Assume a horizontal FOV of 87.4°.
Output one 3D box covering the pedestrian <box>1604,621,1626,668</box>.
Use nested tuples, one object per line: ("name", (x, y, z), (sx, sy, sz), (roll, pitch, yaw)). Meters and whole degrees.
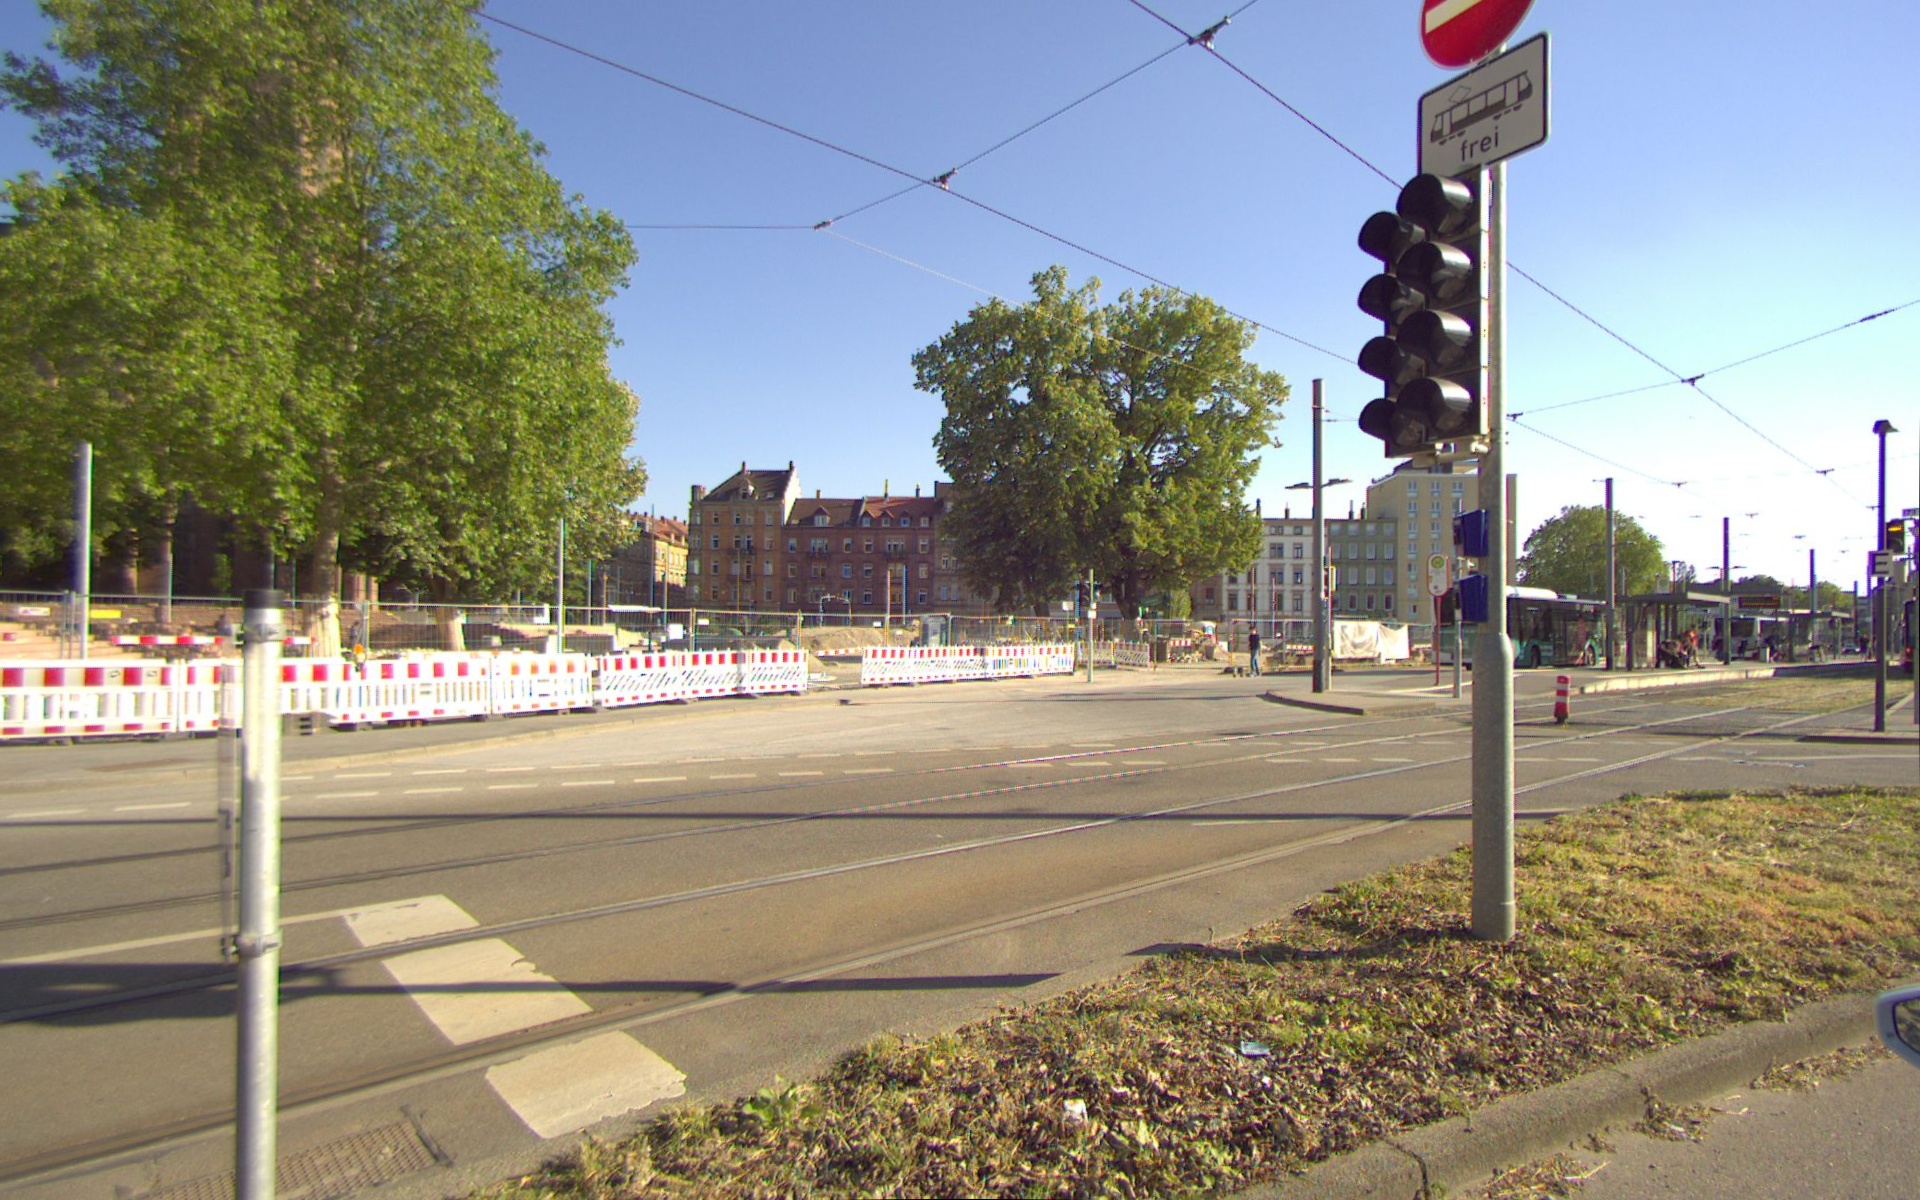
("pedestrian", (25.110, 1.703, 38.482), (0.554, 1.772, 0.534), (2, -2, -35))

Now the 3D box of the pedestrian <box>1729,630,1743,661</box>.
("pedestrian", (44.567, 2.620, 57.701), (0.564, 1.772, 0.636), (-1, -2, 41))

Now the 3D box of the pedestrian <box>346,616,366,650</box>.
("pedestrian", (-29.842, 1.611, 49.665), (0.751, 1.669, 0.671), (1, -1, -26))

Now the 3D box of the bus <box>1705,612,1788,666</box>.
("bus", (53.959, 2.636, 68.748), (13.376, 3.317, 2.694), (2, 0, -44))

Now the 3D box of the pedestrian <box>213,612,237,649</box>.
("pedestrian", (-33.448, 1.401, 45.713), (0.665, 1.669, 0.635), (1, -1, -18))

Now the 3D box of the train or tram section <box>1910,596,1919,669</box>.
("train or tram section", (53.890, 1.823, 53.780), (12.100, 3.644, 2.987), (2, 0, -40))

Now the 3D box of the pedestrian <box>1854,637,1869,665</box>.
("pedestrian", (57.279, 3.247, 63.803), (0.629, 1.772, 0.570), (-1, -2, 34))

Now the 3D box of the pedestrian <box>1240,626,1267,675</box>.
("pedestrian", (10.553, 1.808, 36.068), (0.699, 1.719, 0.899), (-1, -4, 33))

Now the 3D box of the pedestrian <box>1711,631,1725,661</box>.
("pedestrian", (44.477, 2.697, 58.930), (0.629, 1.772, 0.570), (-1, -2, 34))

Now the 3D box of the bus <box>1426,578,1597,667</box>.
("bus", (21.999, 0.903, 39.749), (9.564, 3.177, 2.631), (2, 0, -40))

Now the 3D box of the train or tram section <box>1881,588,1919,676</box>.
("train or tram section", (44.753, 1.495, 45.827), (12.108, 3.644, 2.855), (2, 0, -42))

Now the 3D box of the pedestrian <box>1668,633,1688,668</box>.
("pedestrian", (28.180, 1.987, 39.407), (0.564, 1.363, 0.636), (-1, -2, 43))

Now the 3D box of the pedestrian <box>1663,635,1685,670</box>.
("pedestrian", (27.672, 2.022, 38.932), (0.609, 1.358, 0.438), (-1, -2, 44))

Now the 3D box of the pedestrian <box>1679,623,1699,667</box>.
("pedestrian", (29.559, 1.815, 40.727), (0.564, 1.772, 0.636), (-1, -2, 43))
